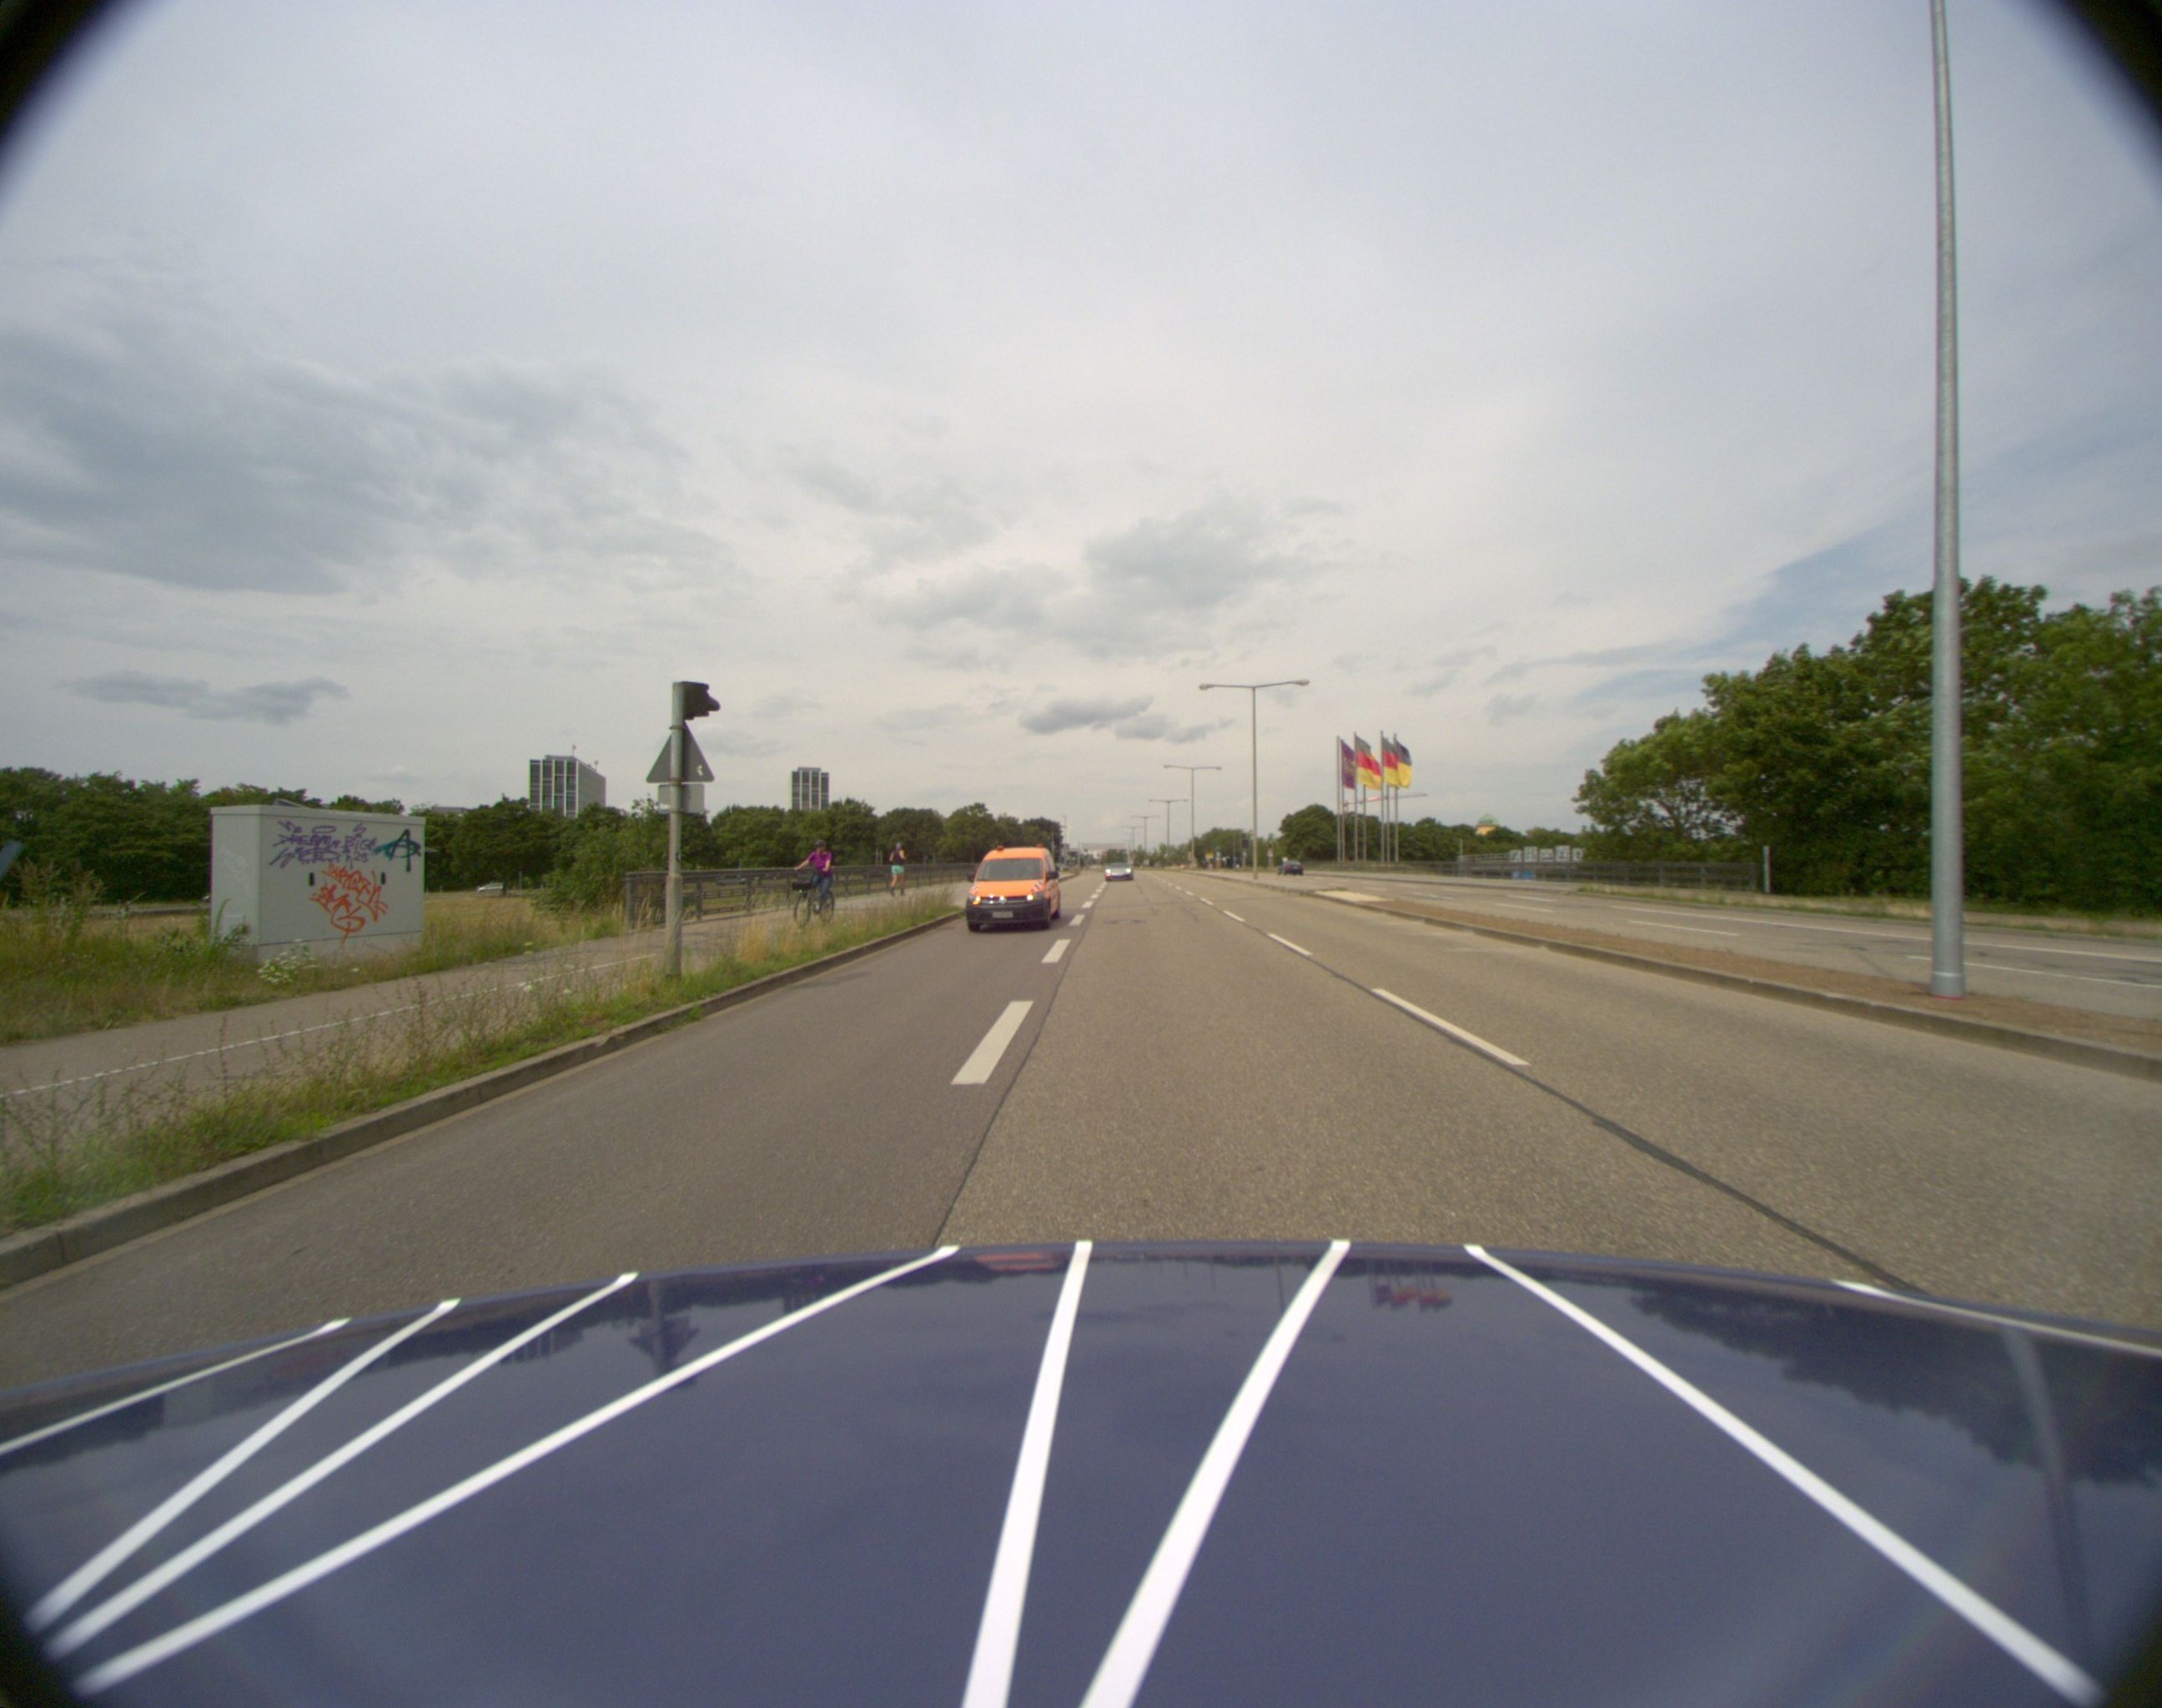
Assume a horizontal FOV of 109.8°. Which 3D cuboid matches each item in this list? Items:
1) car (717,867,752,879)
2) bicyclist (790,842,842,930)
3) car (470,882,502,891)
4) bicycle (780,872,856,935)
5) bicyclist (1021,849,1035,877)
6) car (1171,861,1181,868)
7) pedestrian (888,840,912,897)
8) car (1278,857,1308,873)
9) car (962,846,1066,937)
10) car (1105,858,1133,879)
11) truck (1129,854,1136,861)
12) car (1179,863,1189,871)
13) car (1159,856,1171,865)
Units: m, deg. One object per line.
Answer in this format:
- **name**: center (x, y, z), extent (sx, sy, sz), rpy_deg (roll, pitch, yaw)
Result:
- **car**: center (-57.431, 3.143, 125.969), extent (4.903, 1.792, 1.999), rpy_deg (0, -1, -10)
- **bicyclist**: center (-5.459, 0.646, 15.714), extent (0.705, 1.745, 0.991), rpy_deg (0, 0, 1)
- **car**: center (-95.572, 5.278, 122.018), extent (3.687, 1.265, 1.676), rpy_deg (-1, -1, -22)
- **bicycle**: center (-5.427, 0.978, 15.834), extent (0.695, 1.185, 2.461), rpy_deg (0, 0, 1)
- **bicyclist**: center (-3.436, 0.569, 49.020), extent (0.873, 1.791, 0.956), rpy_deg (1, 1, -4)
- **car**: center (21.987, 2.465, 175.629), extent (1.695, 1.485, 4.000), rpy_deg (1, -1, 1)
- **pedestrian**: center (-6.510, 0.528, 27.311), extent (0.628, 2.001, 0.668), rpy_deg (2, 0, 3)
- **car**: center (19.747, 1.032, 70.894), extent (1.997, 1.365, 4.579), rpy_deg (1, 0, 6)
- **car**: center (-1.407, 0.800, 17.736), extent (1.892, 1.824, 4.431), rpy_deg (-2, -1, 1)
- **car**: center (2.657, 0.992, 53.764), extent (1.695, 1.403, 3.684), rpy_deg (-1, -1, -1)
- **truck**: center (15.621, 1.025, 231.949), extent (1.998, 2.001, 4.001), rpy_deg (-1, -1, 1)
- **car**: center (21.889, 2.744, 161.164), extent (1.695, 1.485, 4.000), rpy_deg (1, -1, 1)
- **car**: center (16.944, 1.274, 152.892), extent (1.998, 1.630, 4.662), rpy_deg (-2, 0, 2)
